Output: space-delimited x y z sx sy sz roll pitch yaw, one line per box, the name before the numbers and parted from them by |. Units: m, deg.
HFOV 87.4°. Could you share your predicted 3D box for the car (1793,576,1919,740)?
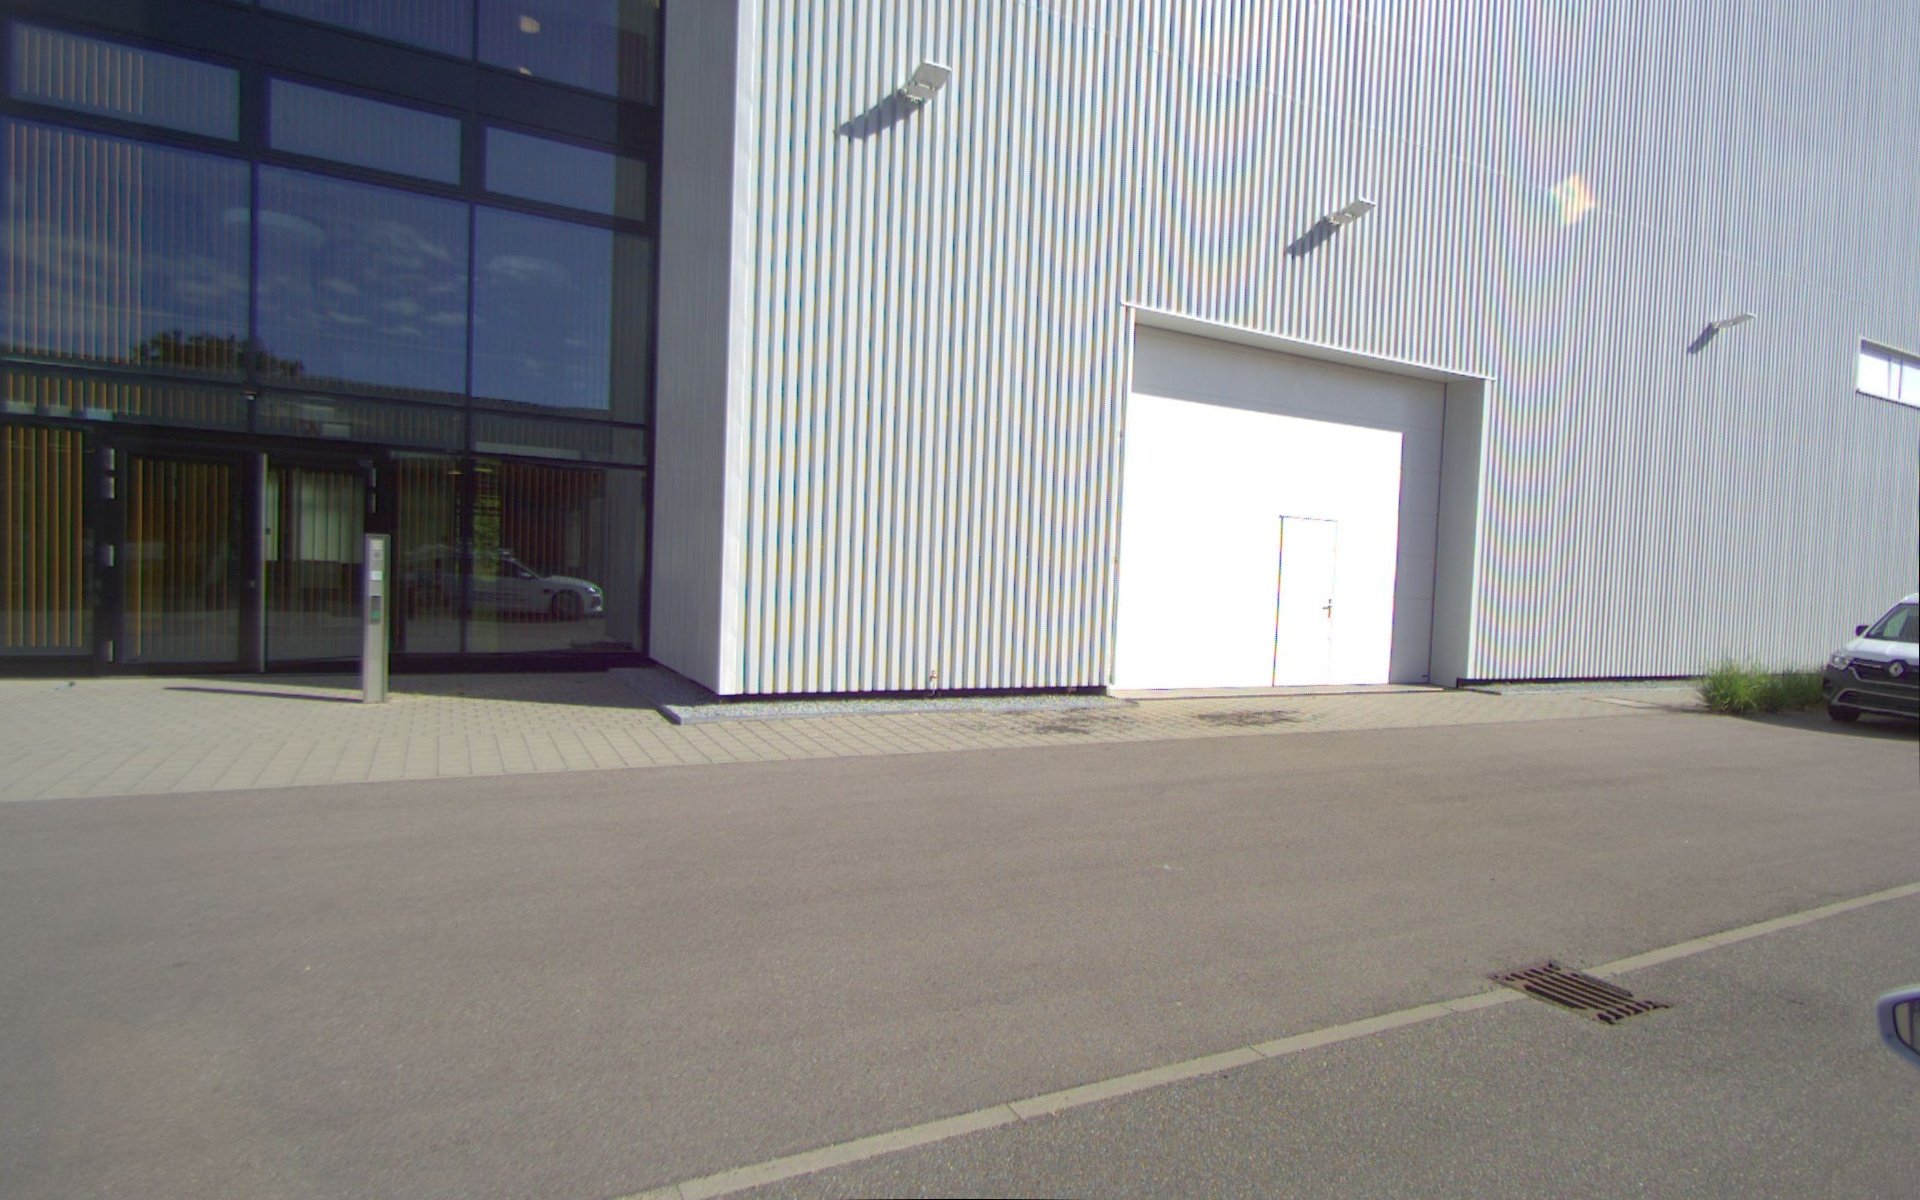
car | 13.116 0.742 13.118 4.305 1.870 1.882 1 3 -29
